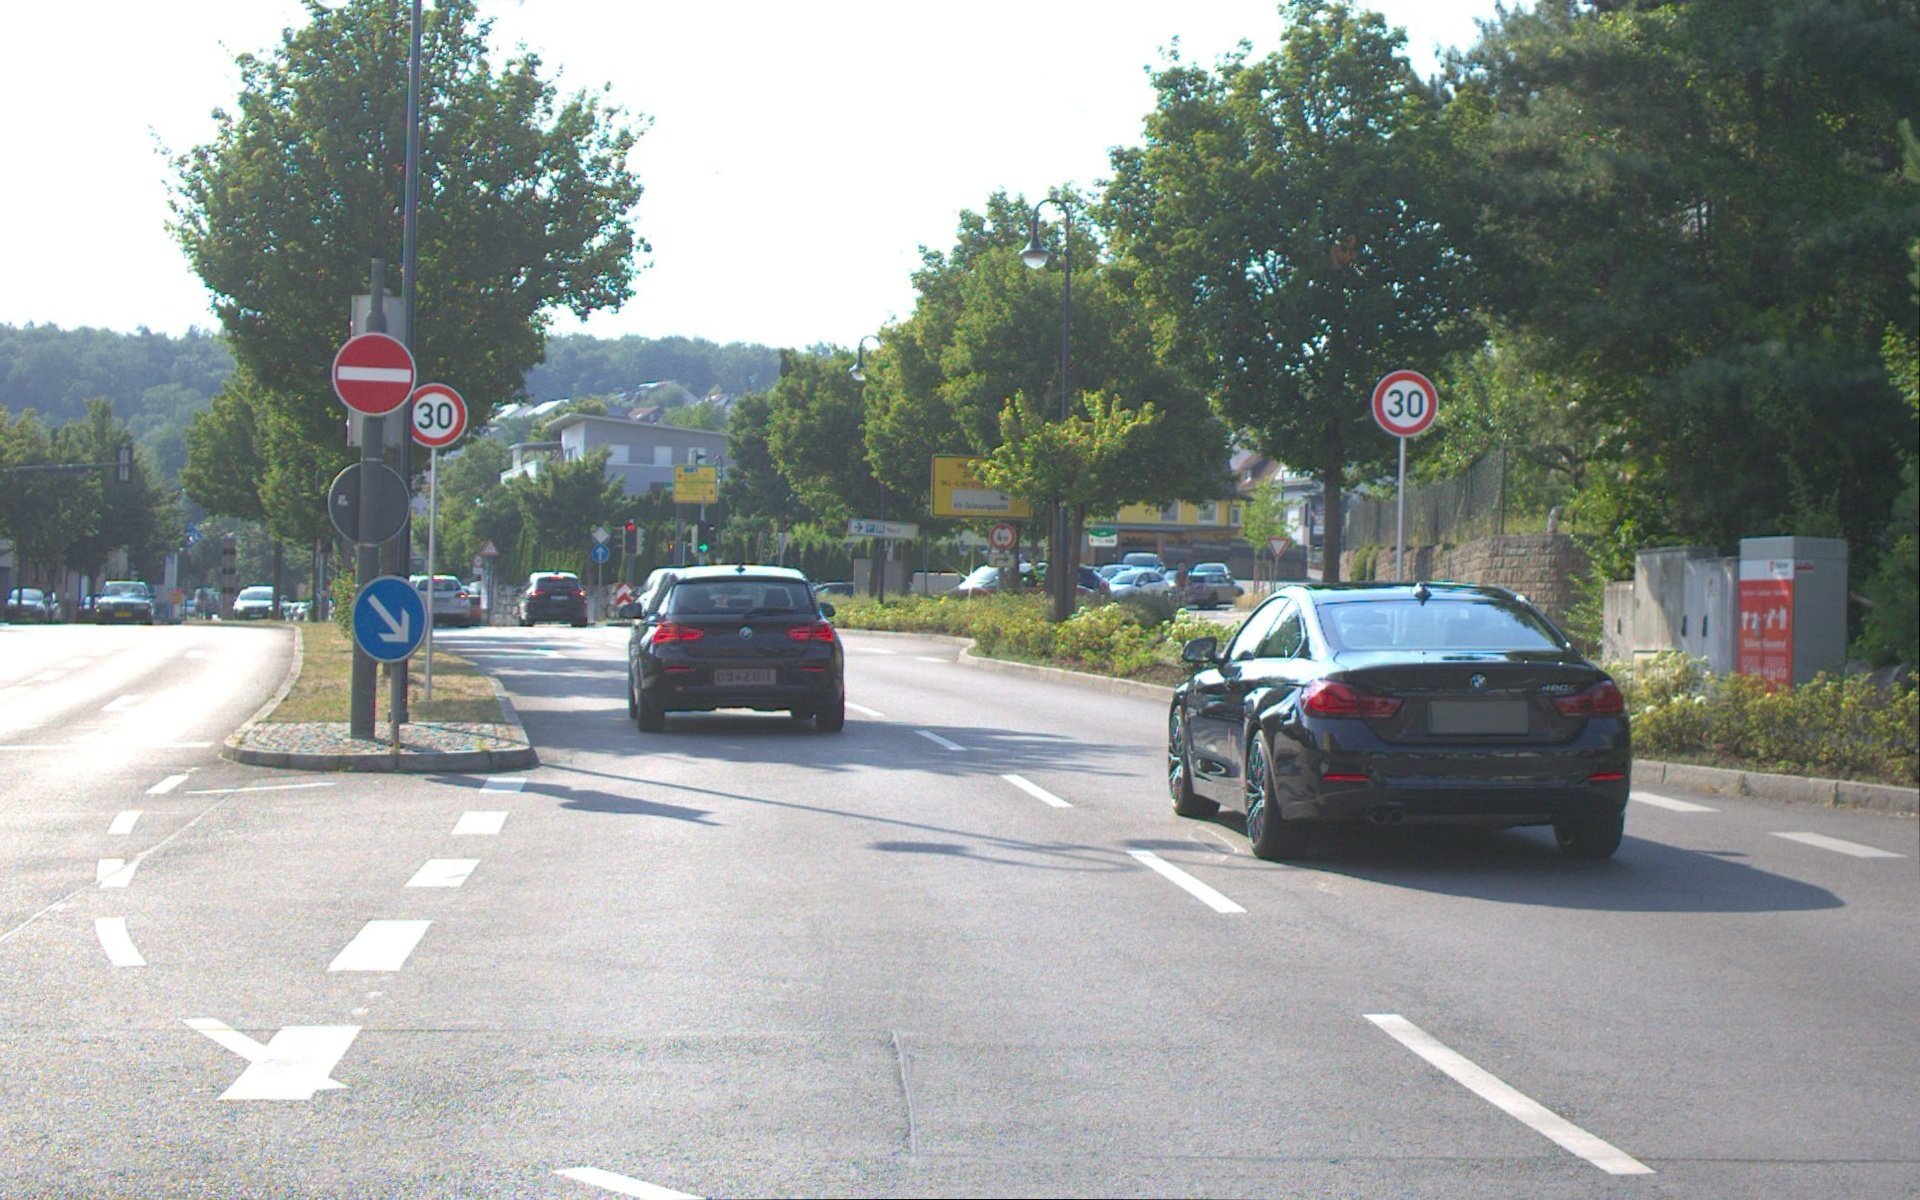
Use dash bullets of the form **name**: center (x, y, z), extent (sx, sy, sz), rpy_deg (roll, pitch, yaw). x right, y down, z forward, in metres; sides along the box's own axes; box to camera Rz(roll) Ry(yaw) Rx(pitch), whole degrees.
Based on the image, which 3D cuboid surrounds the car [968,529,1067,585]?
- **car**: center (2.263, -1.675, 133.583), extent (2.142, 2.123, 5.119), rpy_deg (1, 1, 22)

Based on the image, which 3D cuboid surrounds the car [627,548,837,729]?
- **car**: center (-2.049, 0.296, 30.782), extent (1.721, 1.485, 4.353), rpy_deg (1, 1, -4)

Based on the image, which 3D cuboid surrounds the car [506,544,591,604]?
- **car**: center (-12.479, -0.806, 104.088), extent (2.216, 1.763, 4.455), rpy_deg (0, 1, -11)

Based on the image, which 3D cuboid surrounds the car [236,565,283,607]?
- **car**: center (-28.301, -0.587, 138.993), extent (1.729, 1.673, 4.001), rpy_deg (0, 1, -10)

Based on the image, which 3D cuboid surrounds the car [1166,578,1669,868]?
- **car**: center (2.283, 0.564, 18.318), extent (1.920, 1.359, 4.353), rpy_deg (0, 0, -3)

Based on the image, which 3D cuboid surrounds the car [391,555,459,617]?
- **car**: center (-15.536, -0.433, 99.714), extent (1.755, 1.763, 3.972), rpy_deg (0, 1, -11)

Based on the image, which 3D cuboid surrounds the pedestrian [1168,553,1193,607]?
- **pedestrian**: center (6.935, -0.632, 108.078), extent (0.695, 1.697, 0.950), rpy_deg (0, 0, -3)

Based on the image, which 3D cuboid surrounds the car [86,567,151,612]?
- **car**: center (-26.236, -0.328, 107.279), extent (1.755, 1.356, 4.486), rpy_deg (0, 1, -11)

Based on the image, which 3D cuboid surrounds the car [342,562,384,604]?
- **car**: center (-28.727, -0.835, 165.502), extent (1.772, 2.007, 4.001), rpy_deg (0, 1, -7)

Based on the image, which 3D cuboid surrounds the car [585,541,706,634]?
- **car**: center (-6.239, -0.264, 67.808), extent (1.924, 1.763, 4.455), rpy_deg (0, 1, -11)
